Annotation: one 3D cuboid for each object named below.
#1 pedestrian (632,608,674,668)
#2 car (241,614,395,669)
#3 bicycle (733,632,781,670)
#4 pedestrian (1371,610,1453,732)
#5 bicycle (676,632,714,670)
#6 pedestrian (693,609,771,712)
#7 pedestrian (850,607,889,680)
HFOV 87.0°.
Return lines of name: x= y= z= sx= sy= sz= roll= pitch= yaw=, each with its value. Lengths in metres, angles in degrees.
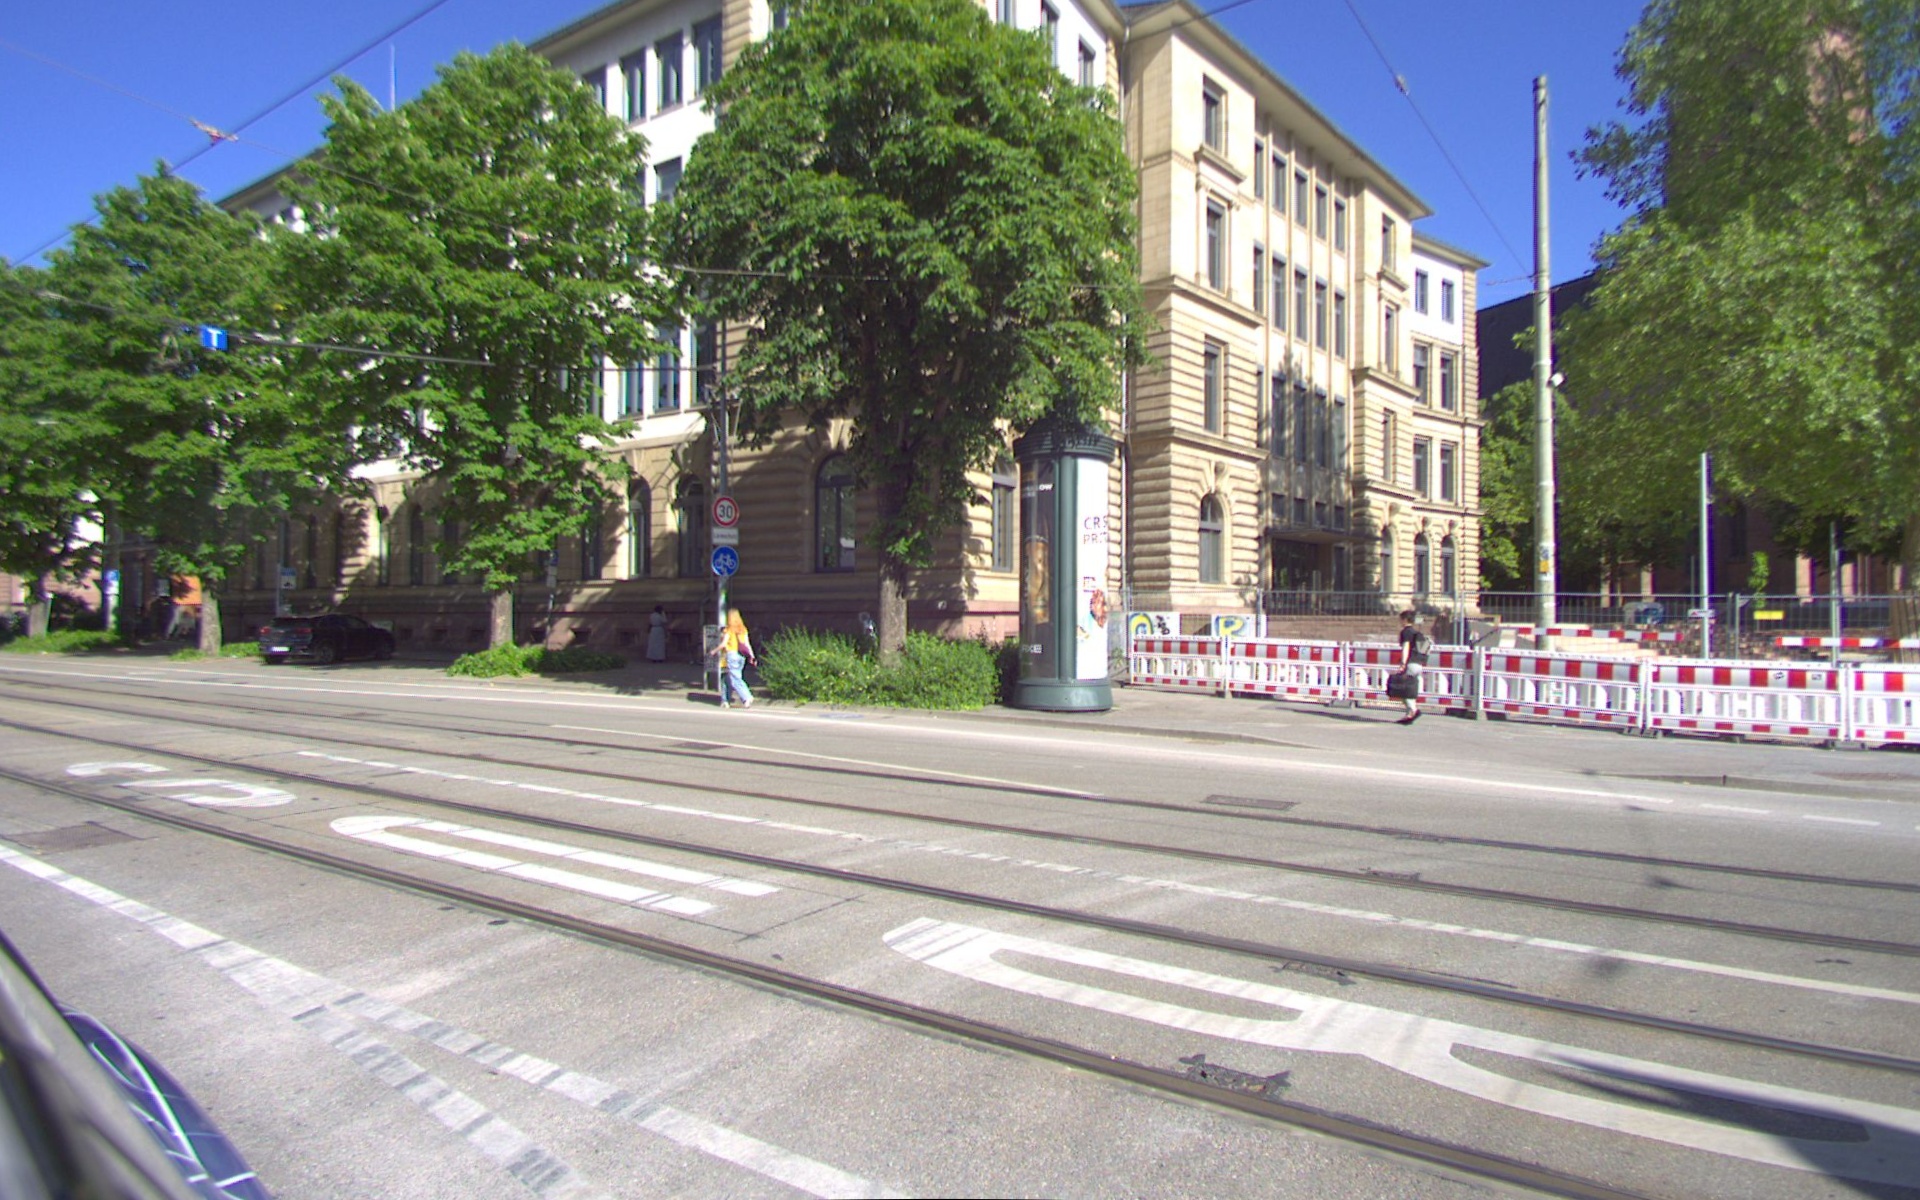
pedestrian: x=-8.622 y=1.050 z=28.397 sx=0.672 sy=1.578 sz=0.848 roll=0 pitch=3 yaw=38
car: x=-19.599 y=1.235 z=31.125 sx=1.897 sy=1.586 sz=4.103 roll=0 pitch=-1 yaw=6
bicycle: x=-5.252 y=1.307 z=26.102 sx=1.358 sy=0.910 sz=0.393 roll=0 pitch=0 yaw=36
pedestrian: x=6.592 y=1.007 z=14.764 sx=0.846 sy=1.682 sz=0.719 roll=2 pitch=0 yaw=44
bicycle: x=-6.992 y=1.333 z=26.654 sx=1.099 sy=0.963 sz=0.339 roll=0 pitch=0 yaw=35
pedestrian: x=-3.888 y=1.011 z=17.268 sx=1.031 sy=1.682 sz=0.763 roll=0 pitch=-2 yaw=34
pedestrian: x=-1.997 y=0.955 z=22.335 sx=0.652 sy=1.574 sz=0.572 roll=-1 pitch=-2 yaw=33
